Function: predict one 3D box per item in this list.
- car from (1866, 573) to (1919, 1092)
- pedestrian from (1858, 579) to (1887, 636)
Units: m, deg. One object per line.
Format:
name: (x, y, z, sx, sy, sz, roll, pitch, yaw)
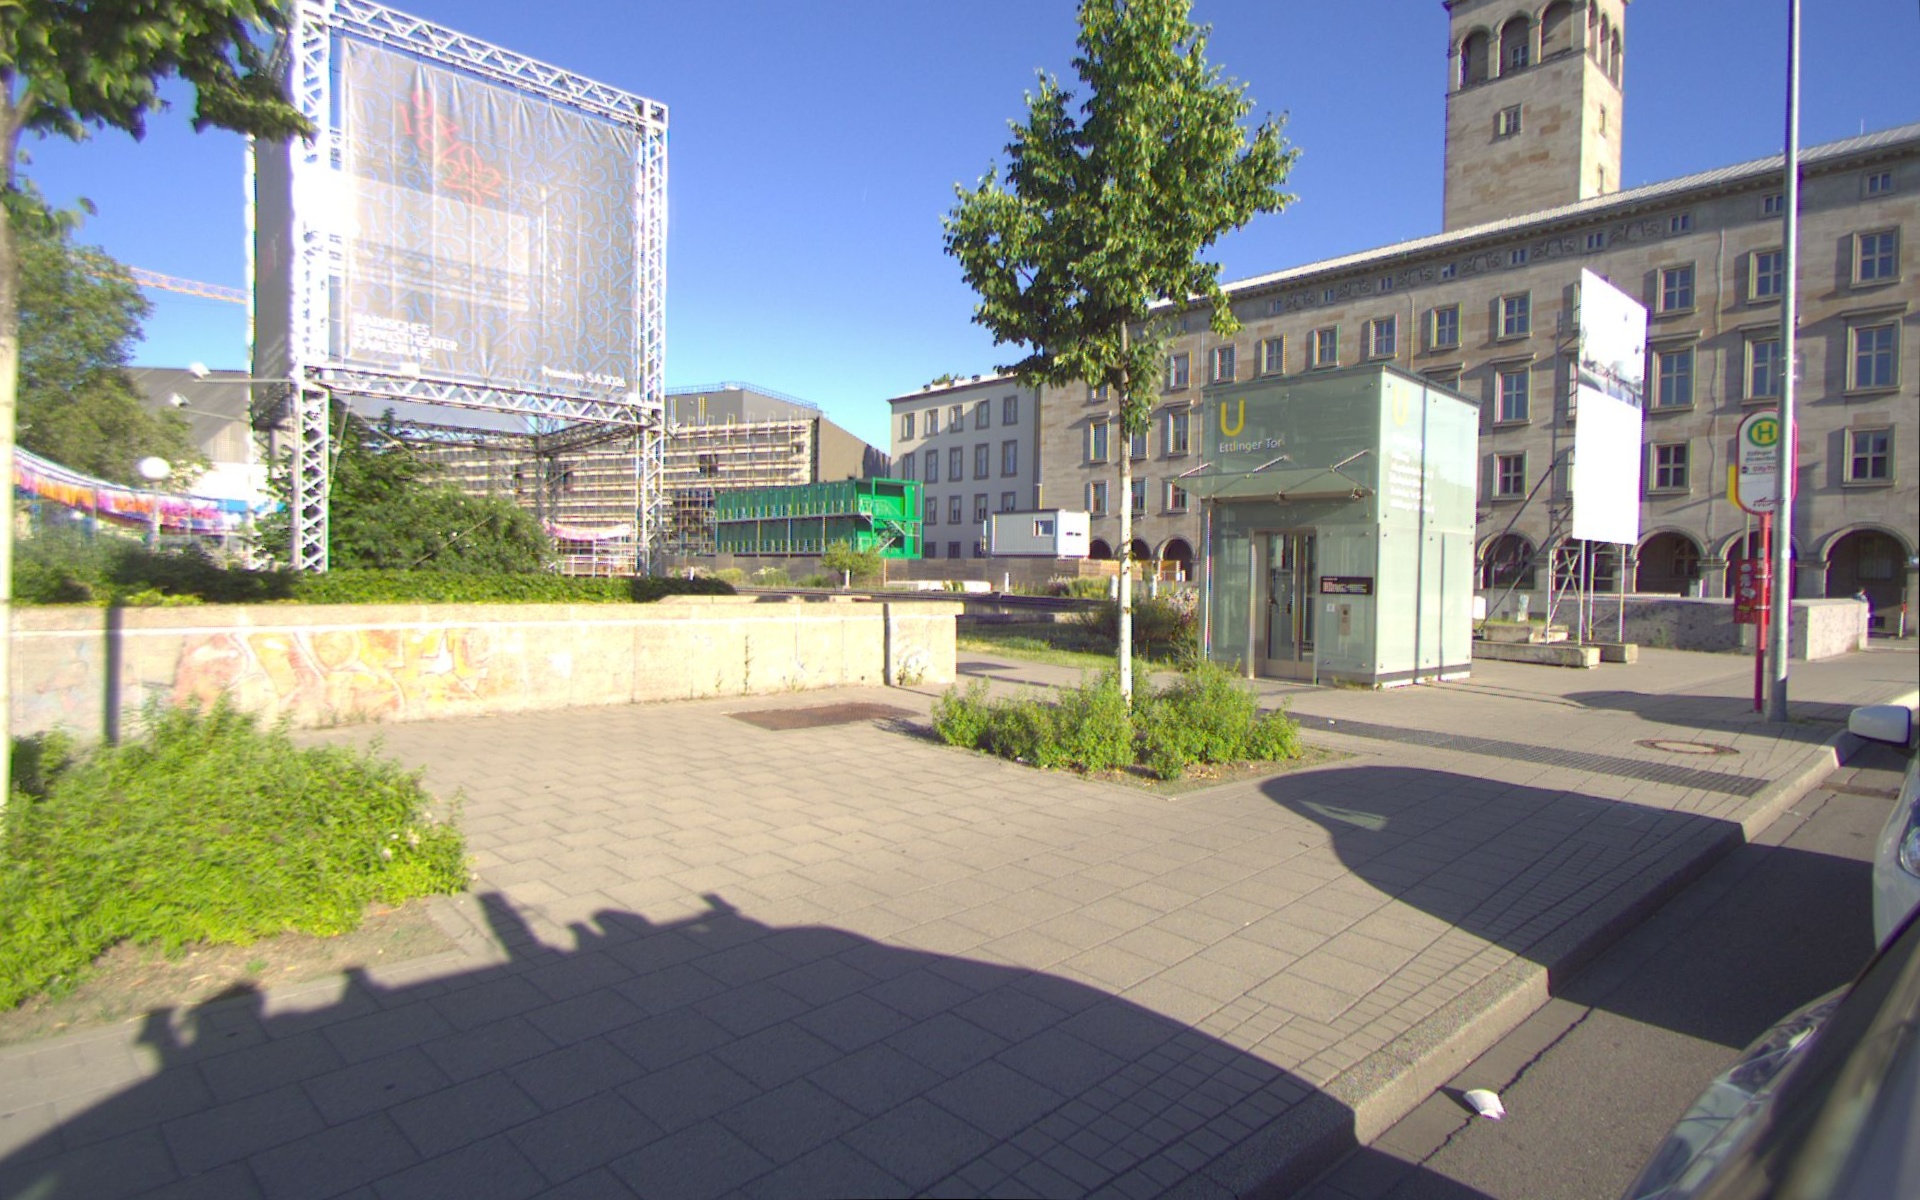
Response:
car: (4.638, 0.676, 3.666, 3.930, 1.473, 1.518, 0, 2, -41)
pedestrian: (28.596, 0.225, 31.712, 0.572, 1.732, 0.595, 0, 1, -41)
